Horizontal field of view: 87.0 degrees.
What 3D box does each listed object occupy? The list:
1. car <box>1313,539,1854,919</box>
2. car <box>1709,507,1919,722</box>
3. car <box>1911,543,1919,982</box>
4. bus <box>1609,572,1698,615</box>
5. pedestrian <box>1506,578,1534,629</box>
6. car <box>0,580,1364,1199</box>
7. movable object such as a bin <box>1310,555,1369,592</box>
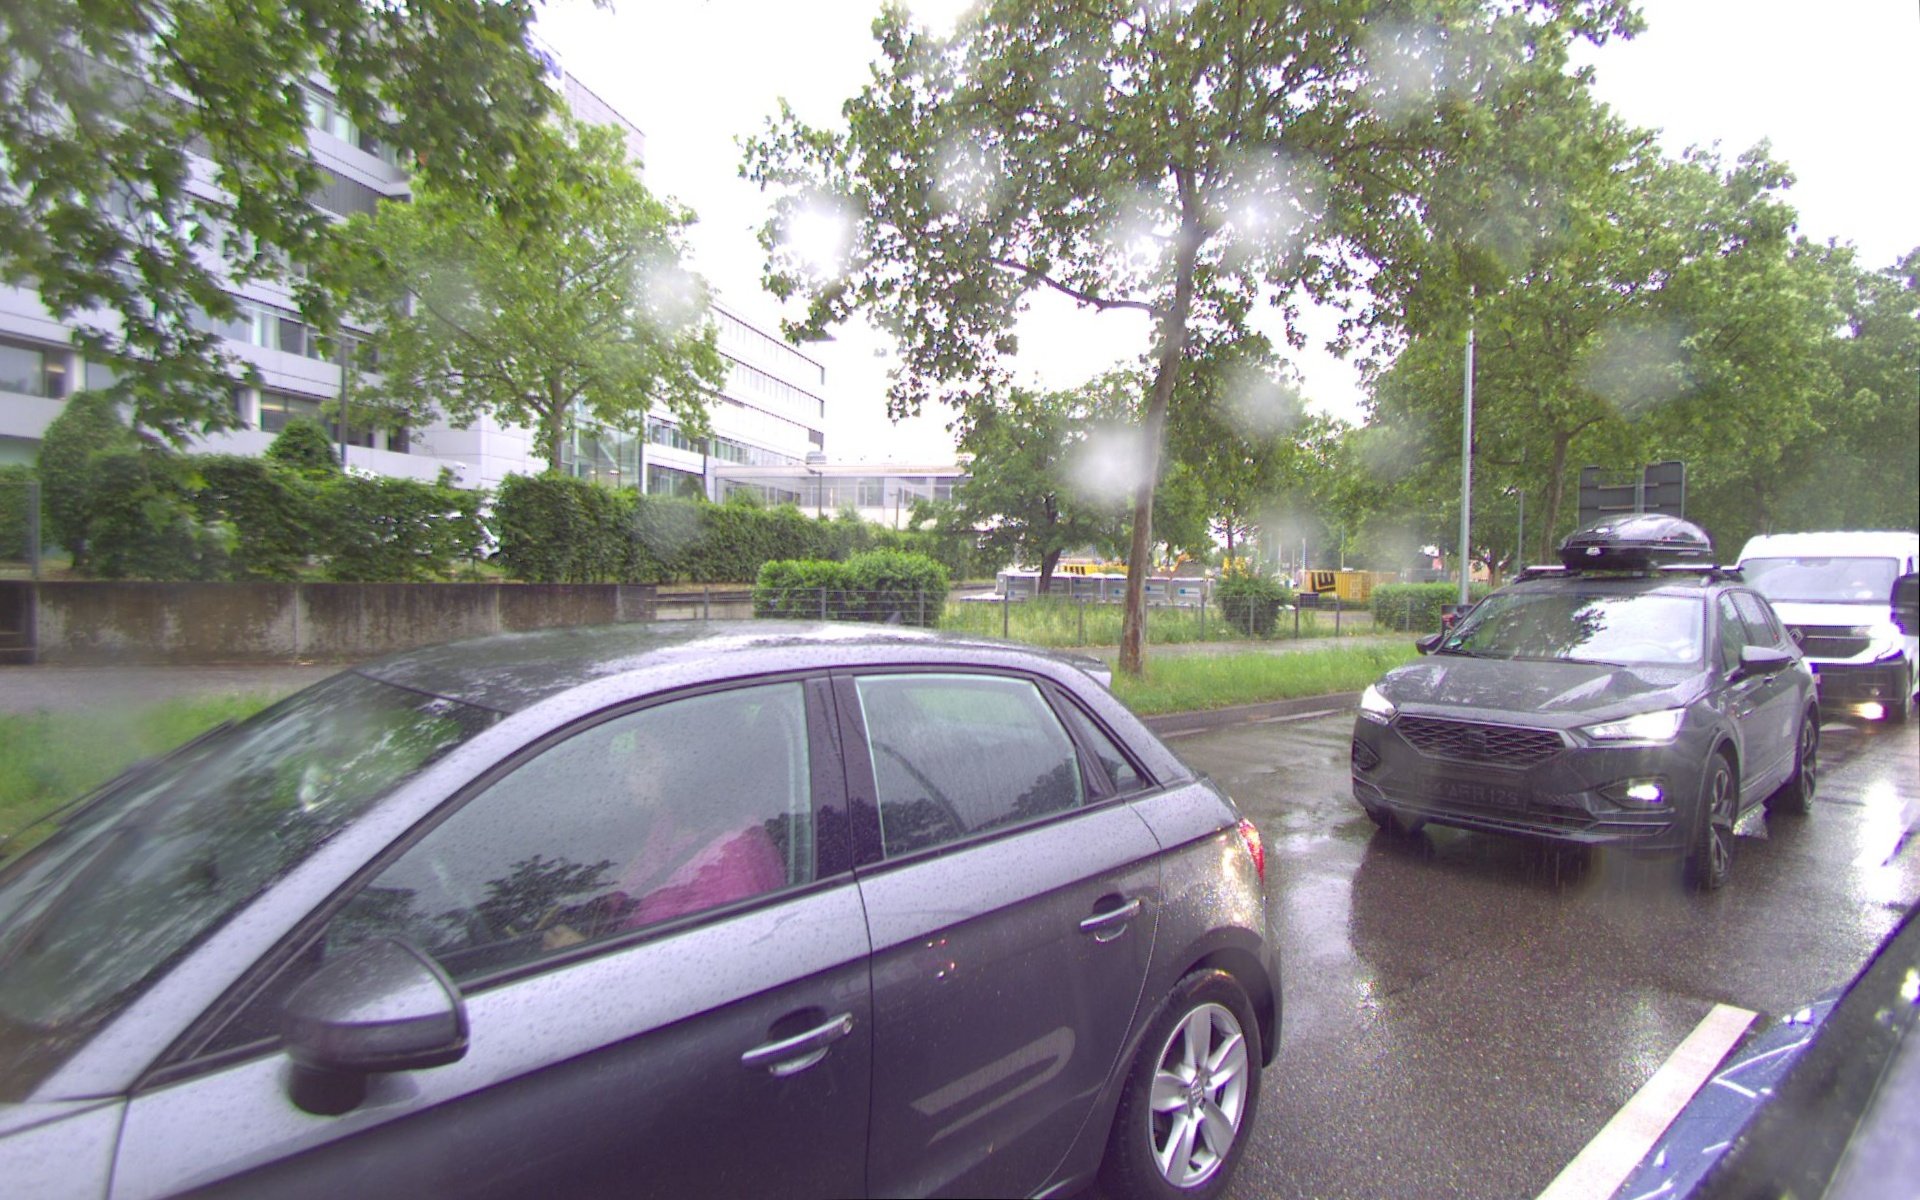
[{"bbox_3d":[4.348,0.560,6.742,4.347,1.719,1.892,0,1,-42],"label":"car"},{"bbox_3d":[12.268,0.142,14.166,5.227,2.476,1.892,0,1,-43],"label":"car"},{"bbox_3d":[6.325,0.178,4.957,5.599,2.544,2.024,0,1,-43],"label":"car"},{"bbox_3d":[43.733,-0.420,63.914,1.681,2.600,4.366,0,0,-41],"label":"bus"},{"bbox_3d":[19.310,0.108,34.907,0.645,1.738,0.645,0,0,-40],"label":"pedestrian"},{"bbox_3d":[-0.846,0.692,2.175,3.715,1.446,1.679,0,1,-41],"label":"car"},{"bbox_3d":[35.941,-2.481,95.956,4.846,3.478,1.918,0,0,1],"label":"movable object such as a bin"}]
